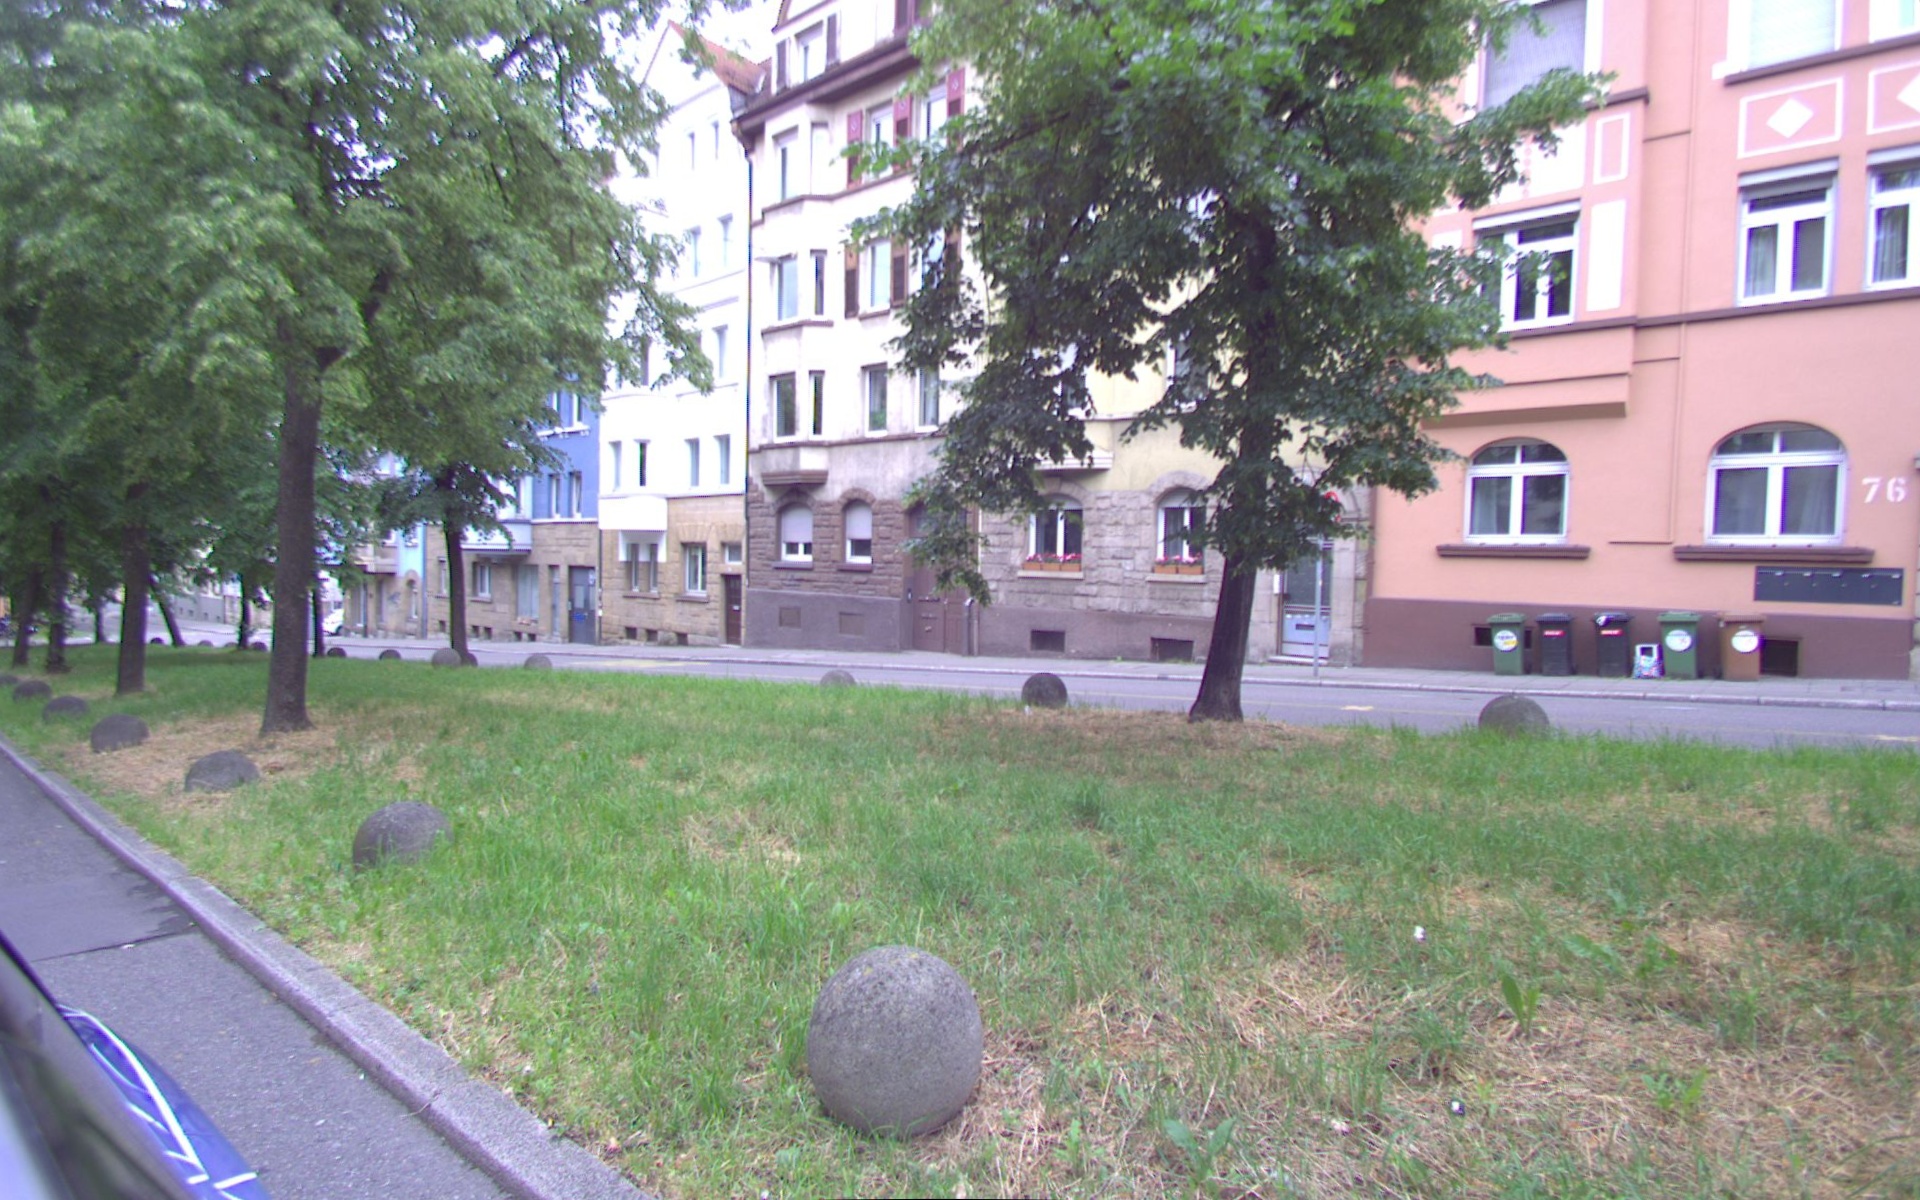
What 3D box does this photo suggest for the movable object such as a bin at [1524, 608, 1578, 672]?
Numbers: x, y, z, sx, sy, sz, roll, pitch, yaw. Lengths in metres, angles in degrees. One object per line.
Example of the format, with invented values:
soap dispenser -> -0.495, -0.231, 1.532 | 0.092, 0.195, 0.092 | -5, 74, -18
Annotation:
movable object such as a bin -> 8.785, 0.582, 15.039 | 0.601, 0.911, 0.603 | -1, 1, 38

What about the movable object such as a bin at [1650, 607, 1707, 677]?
movable object such as a bin -> 9.944, 0.570, 13.997 | 0.601, 0.911, 0.603 | -1, 1, 38

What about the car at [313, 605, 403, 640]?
car -> -34.413, 1.245, 57.953 | 1.870, 1.480, 3.959 | 2, 7, 39

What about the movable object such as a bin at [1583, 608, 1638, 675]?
movable object such as a bin -> 9.329, 0.578, 14.519 | 0.601, 0.911, 0.603 | -1, 1, 38

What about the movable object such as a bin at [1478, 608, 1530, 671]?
movable object such as a bin -> 8.314, 0.589, 15.465 | 0.601, 0.911, 0.603 | -1, 1, 38

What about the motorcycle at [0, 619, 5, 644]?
motorcycle -> -49.918, 1.633, 52.178 | 0.875, 1.104, 2.485 | -1, 3, -41

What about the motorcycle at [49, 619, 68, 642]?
motorcycle -> -48.286, 1.601, 54.210 | 0.739, 1.081, 1.854 | -1, 3, -41

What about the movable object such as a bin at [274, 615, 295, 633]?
movable object such as a bin -> -41.211, 1.451, 61.754 | 0.668, 1.001, 0.876 | 0, 3, 40

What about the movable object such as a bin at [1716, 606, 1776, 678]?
movable object such as a bin -> 10.516, 0.550, 13.545 | 0.601, 0.911, 0.603 | -1, 1, 38
